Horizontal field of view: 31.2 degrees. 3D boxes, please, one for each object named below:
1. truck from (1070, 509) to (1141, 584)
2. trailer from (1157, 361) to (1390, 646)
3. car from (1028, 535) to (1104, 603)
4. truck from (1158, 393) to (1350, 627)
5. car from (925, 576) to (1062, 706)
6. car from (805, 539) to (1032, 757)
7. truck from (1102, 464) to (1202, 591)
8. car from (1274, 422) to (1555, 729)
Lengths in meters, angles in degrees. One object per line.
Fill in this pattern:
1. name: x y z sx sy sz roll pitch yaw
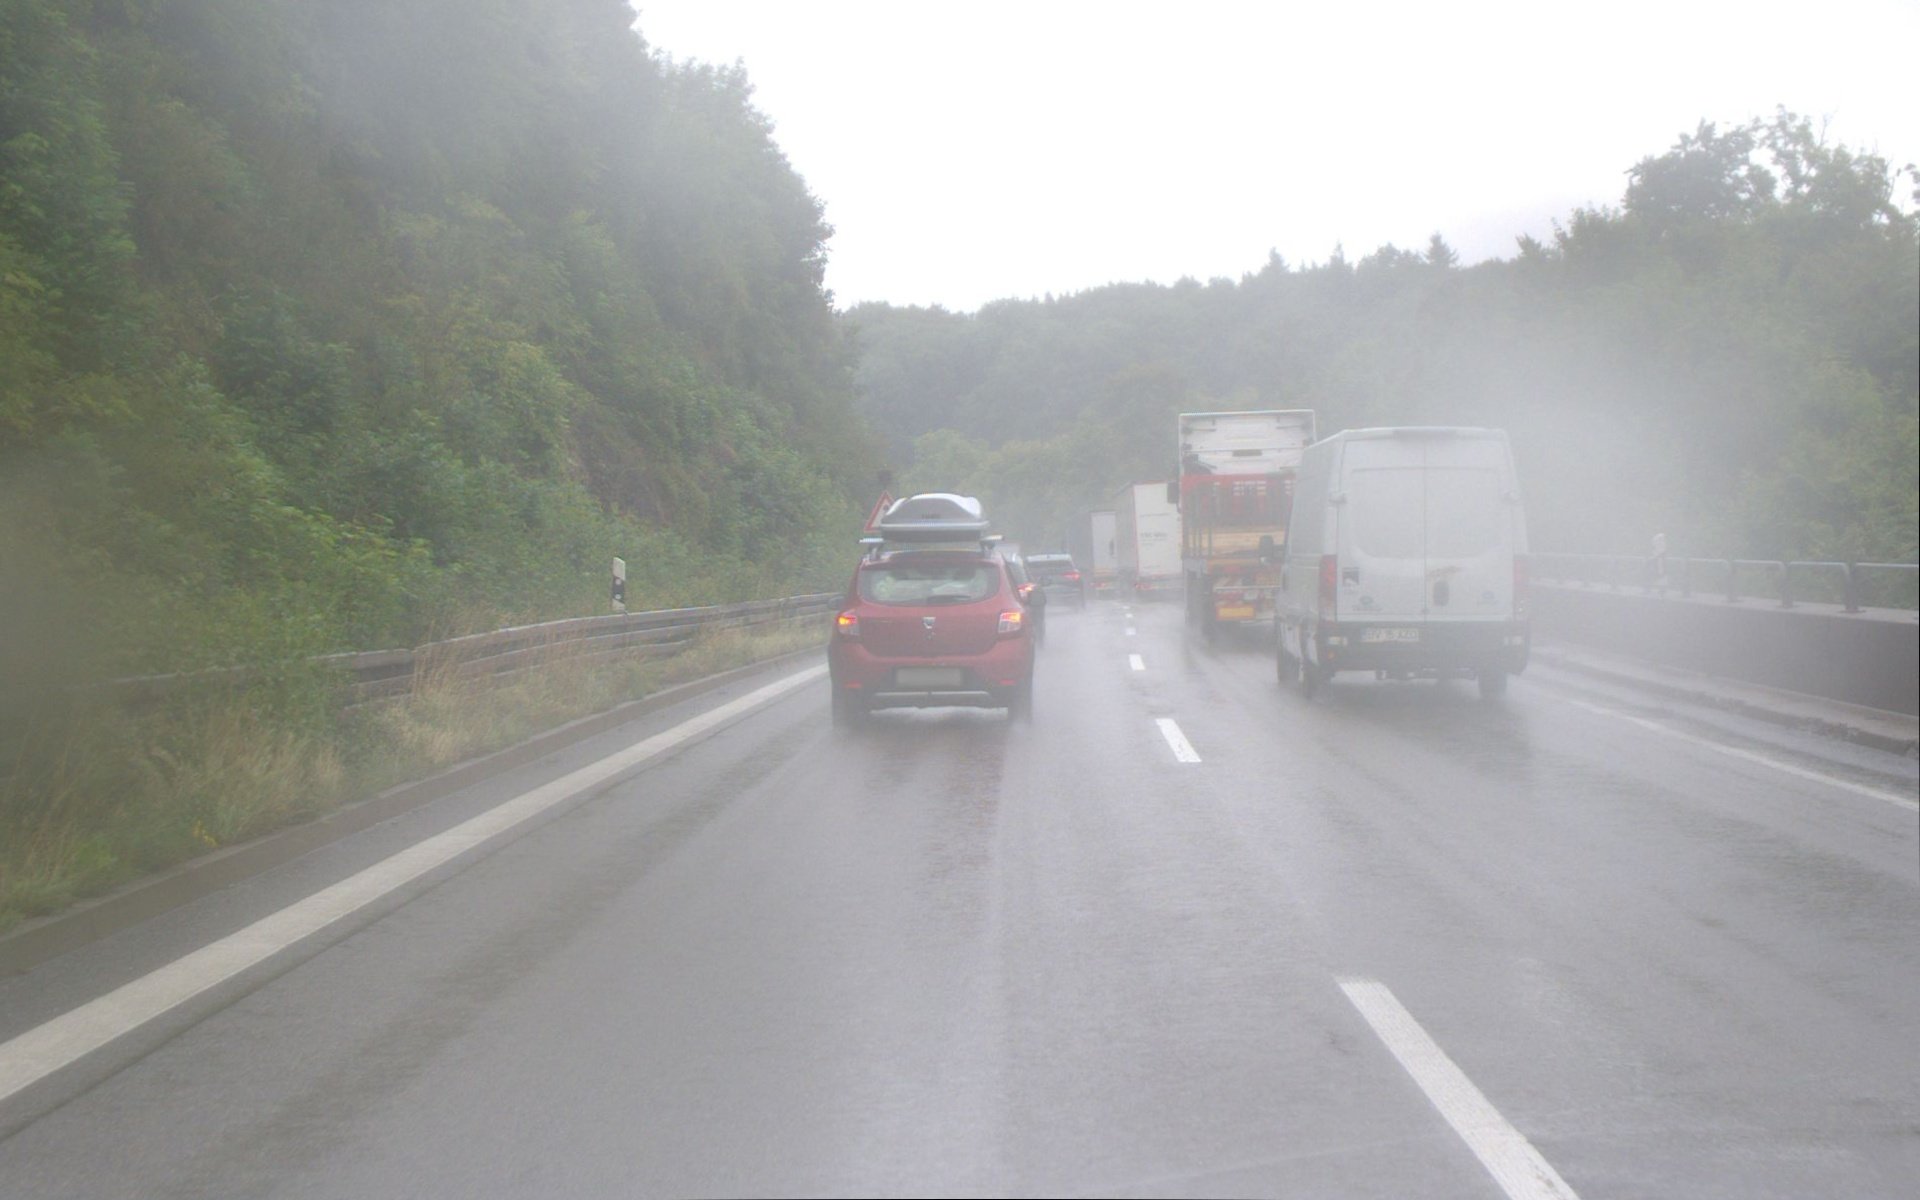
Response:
1. truck: 6.551 -2.428 155.692 3.062 3.300 8.070 0 1 1
2. trailer: 4.862 -1.474 55.777 3.219 3.985 13.522 -1 1 3
3. car: 2.864 -0.844 93.447 1.874 1.700 3.889 -4 1 1
4. truck: 5.245 -1.587 62.175 3.220 3.964 5.438 -1 1 3
5. car: 0.524 0.570 50.576 1.833 1.709 3.645 -4 1 2
6. car: -0.329 0.375 30.184 1.758 1.679 4.000 -4 1 0
7. truck: 6.579 -2.455 118.837 2.687 4.080 9.315 -4 1 0
8. car: 4.460 -0.273 34.898 2.206 2.784 7.382 0 1 3
